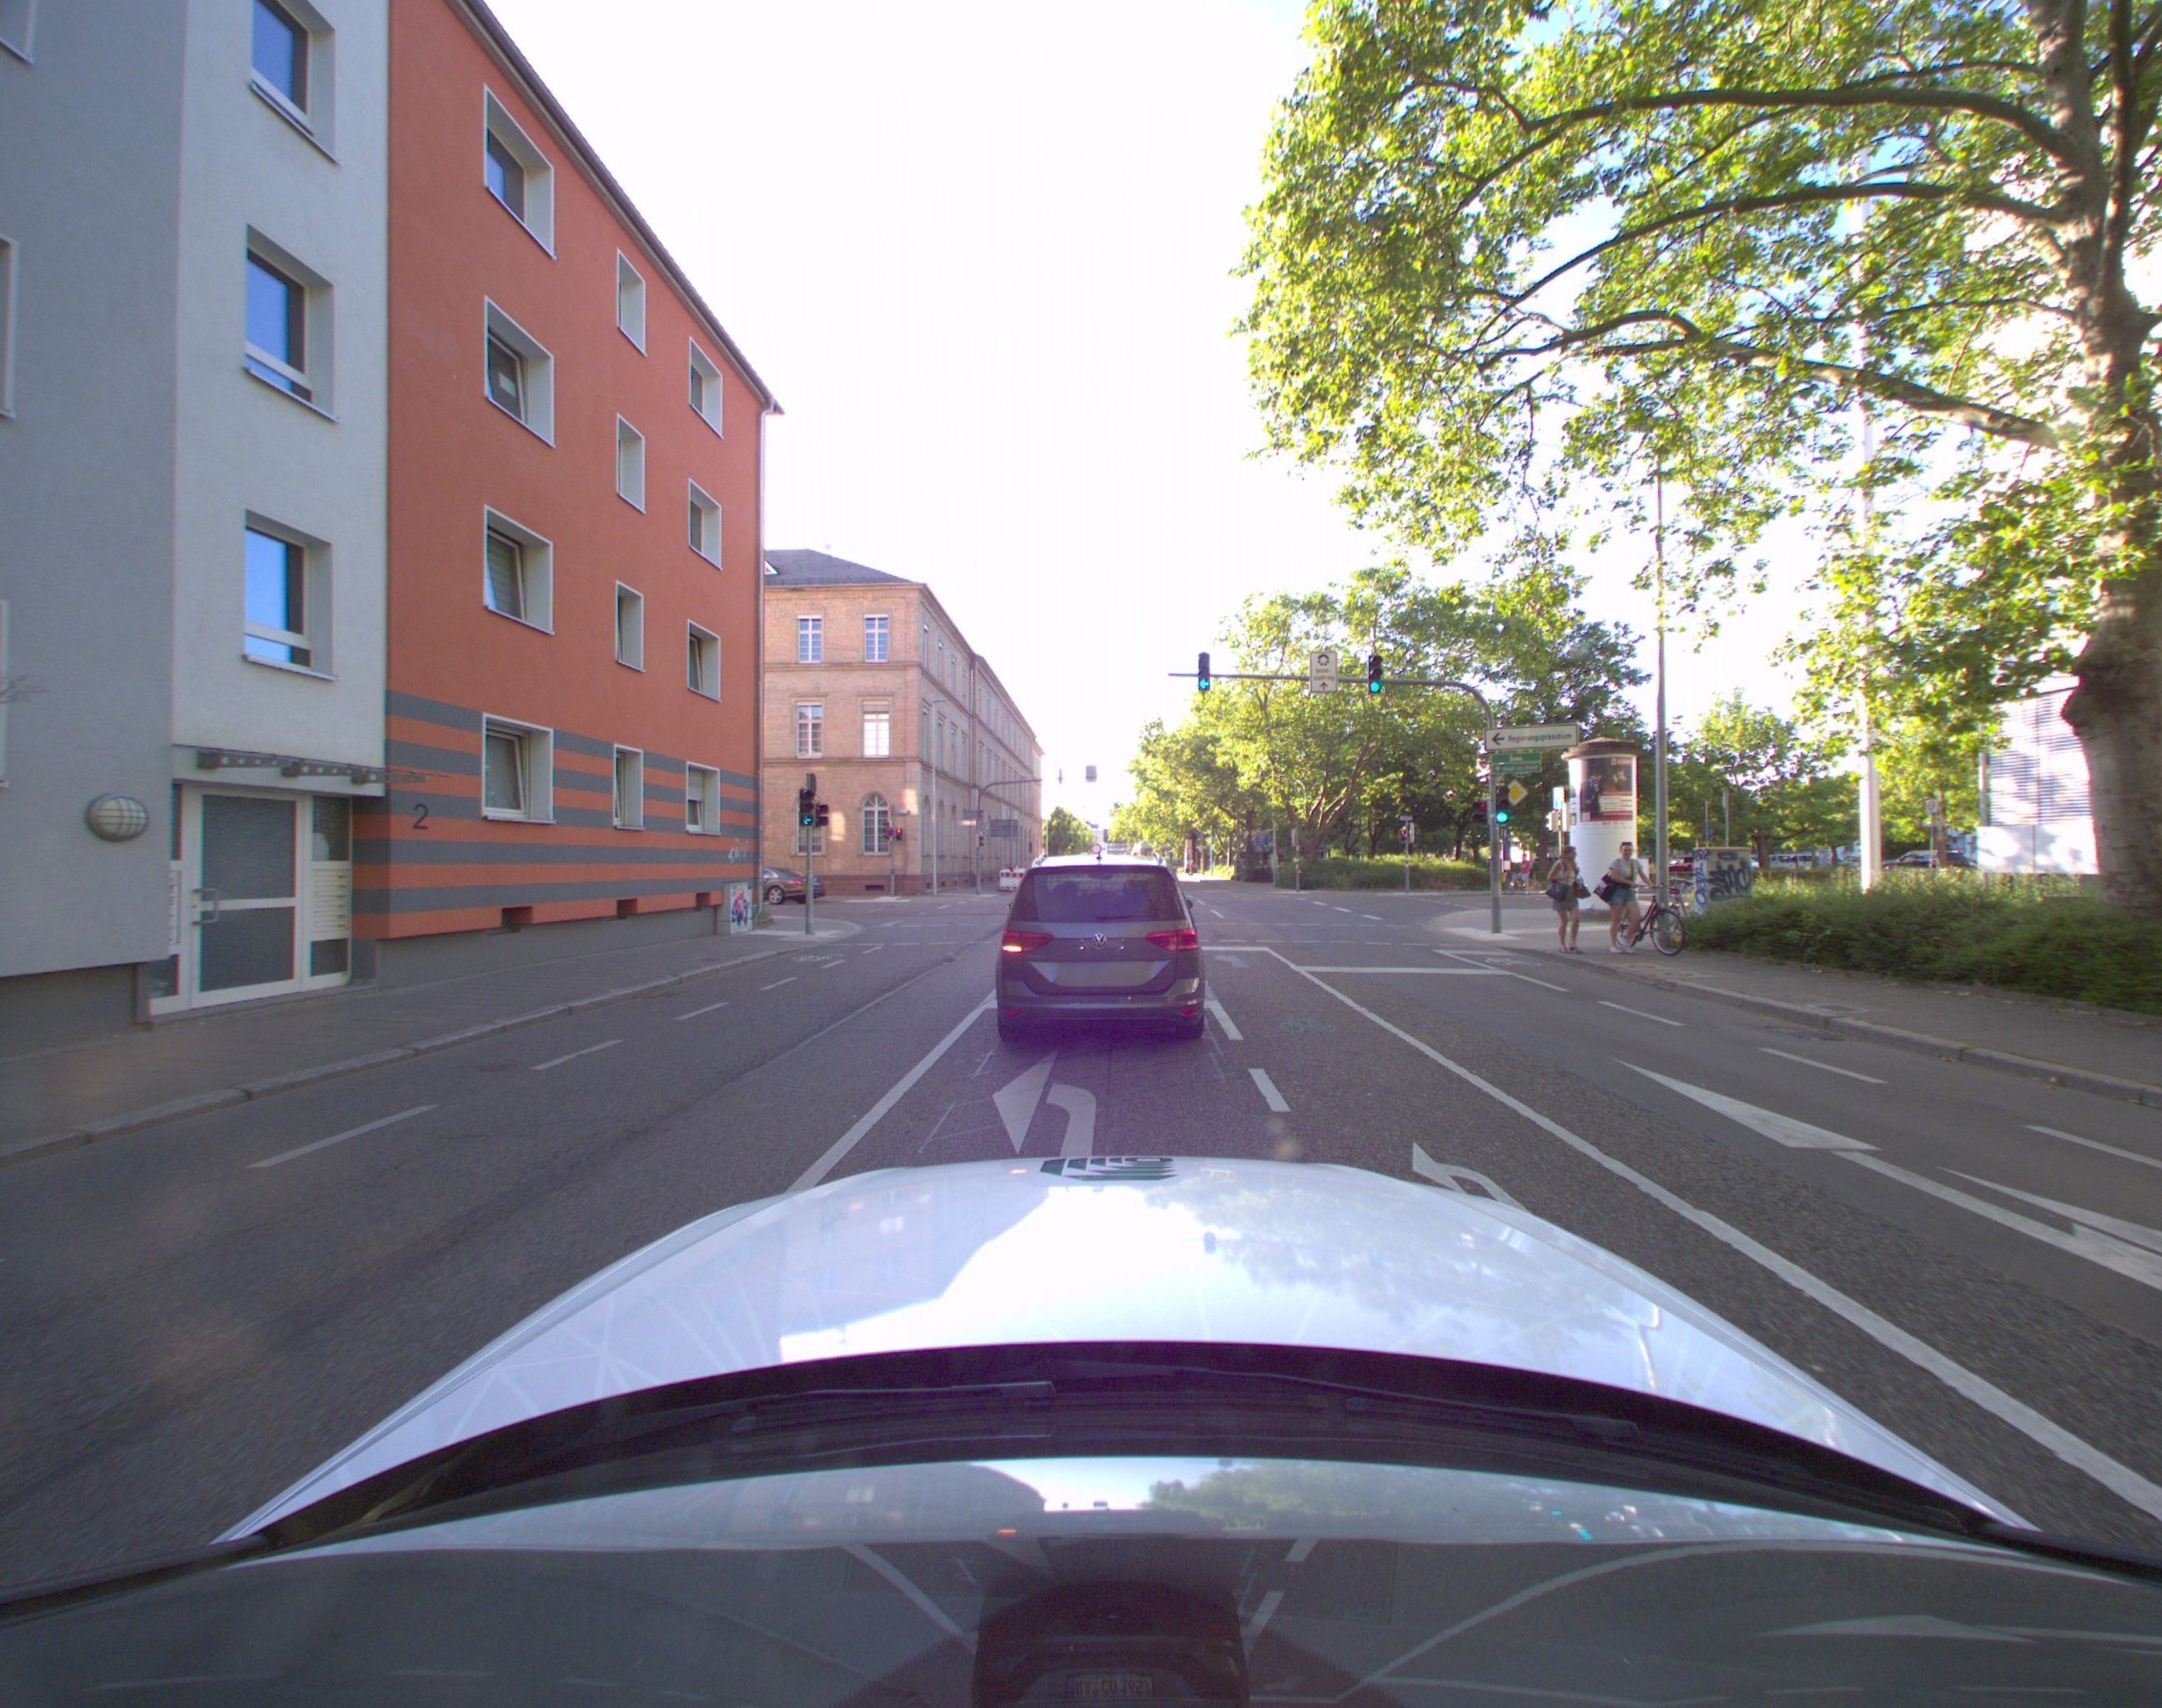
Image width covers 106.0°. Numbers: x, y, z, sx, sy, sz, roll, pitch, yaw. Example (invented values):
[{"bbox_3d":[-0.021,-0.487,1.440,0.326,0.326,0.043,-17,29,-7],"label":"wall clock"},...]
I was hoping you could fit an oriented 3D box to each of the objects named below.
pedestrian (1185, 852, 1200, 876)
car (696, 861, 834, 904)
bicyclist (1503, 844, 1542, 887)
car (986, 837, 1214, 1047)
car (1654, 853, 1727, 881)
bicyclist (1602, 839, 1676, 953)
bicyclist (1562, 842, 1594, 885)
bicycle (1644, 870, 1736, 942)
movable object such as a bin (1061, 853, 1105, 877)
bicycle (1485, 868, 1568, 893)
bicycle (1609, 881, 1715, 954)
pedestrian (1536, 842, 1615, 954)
[{"bbox_3d":[12.282,1.114,90.033,1.417,2.667,1.145,0,-1,-6],"label":"pedestrian"},{"bbox_3d":[-11.874,1.048,30.706,4.467,1.529,1.934,0,0,9],"label":"car"},{"bbox_3d":[18.600,0.485,34.345,1.124,1.808,0.978,0,-1,0],"label":"bicyclist"},{"bbox_3d":[0.204,0.693,8.293,1.755,1.607,4.001,0,0,2],"label":"car"},{"bbox_3d":[40.496,0.869,54.227,1.986,1.779,4.002,0,-1,2],"label":"car"},{"bbox_3d":[8.697,0.649,12.717,0.630,1.714,0.655,-1,-3,1],"label":"bicyclist"},{"bbox_3d":[18.728,0.358,30.665,0.941,1.545,1.133,-1,1,34],"label":"bicyclist"},{"bbox_3d":[10.839,0.895,14.477,1.998,1.182,0.466,0,-2,-28],"label":"bicycle"},{"bbox_3d":[0.227,1.278,96.313,4.782,2.777,2.488,-1,-1,45],"label":"movable object such as a bin"},{"bbox_3d":[18.770,1.118,34.353,2.987,1.038,0.942,0,-1,-1],"label":"bicycle"},{"bbox_3d":[9.083,0.965,12.817,0.519,1.035,1.648,0,-1,2],"label":"bicycle"},{"bbox_3d":[7.939,0.697,13.106,0.771,1.719,0.692,-2,-2,1],"label":"pedestrian"}]
